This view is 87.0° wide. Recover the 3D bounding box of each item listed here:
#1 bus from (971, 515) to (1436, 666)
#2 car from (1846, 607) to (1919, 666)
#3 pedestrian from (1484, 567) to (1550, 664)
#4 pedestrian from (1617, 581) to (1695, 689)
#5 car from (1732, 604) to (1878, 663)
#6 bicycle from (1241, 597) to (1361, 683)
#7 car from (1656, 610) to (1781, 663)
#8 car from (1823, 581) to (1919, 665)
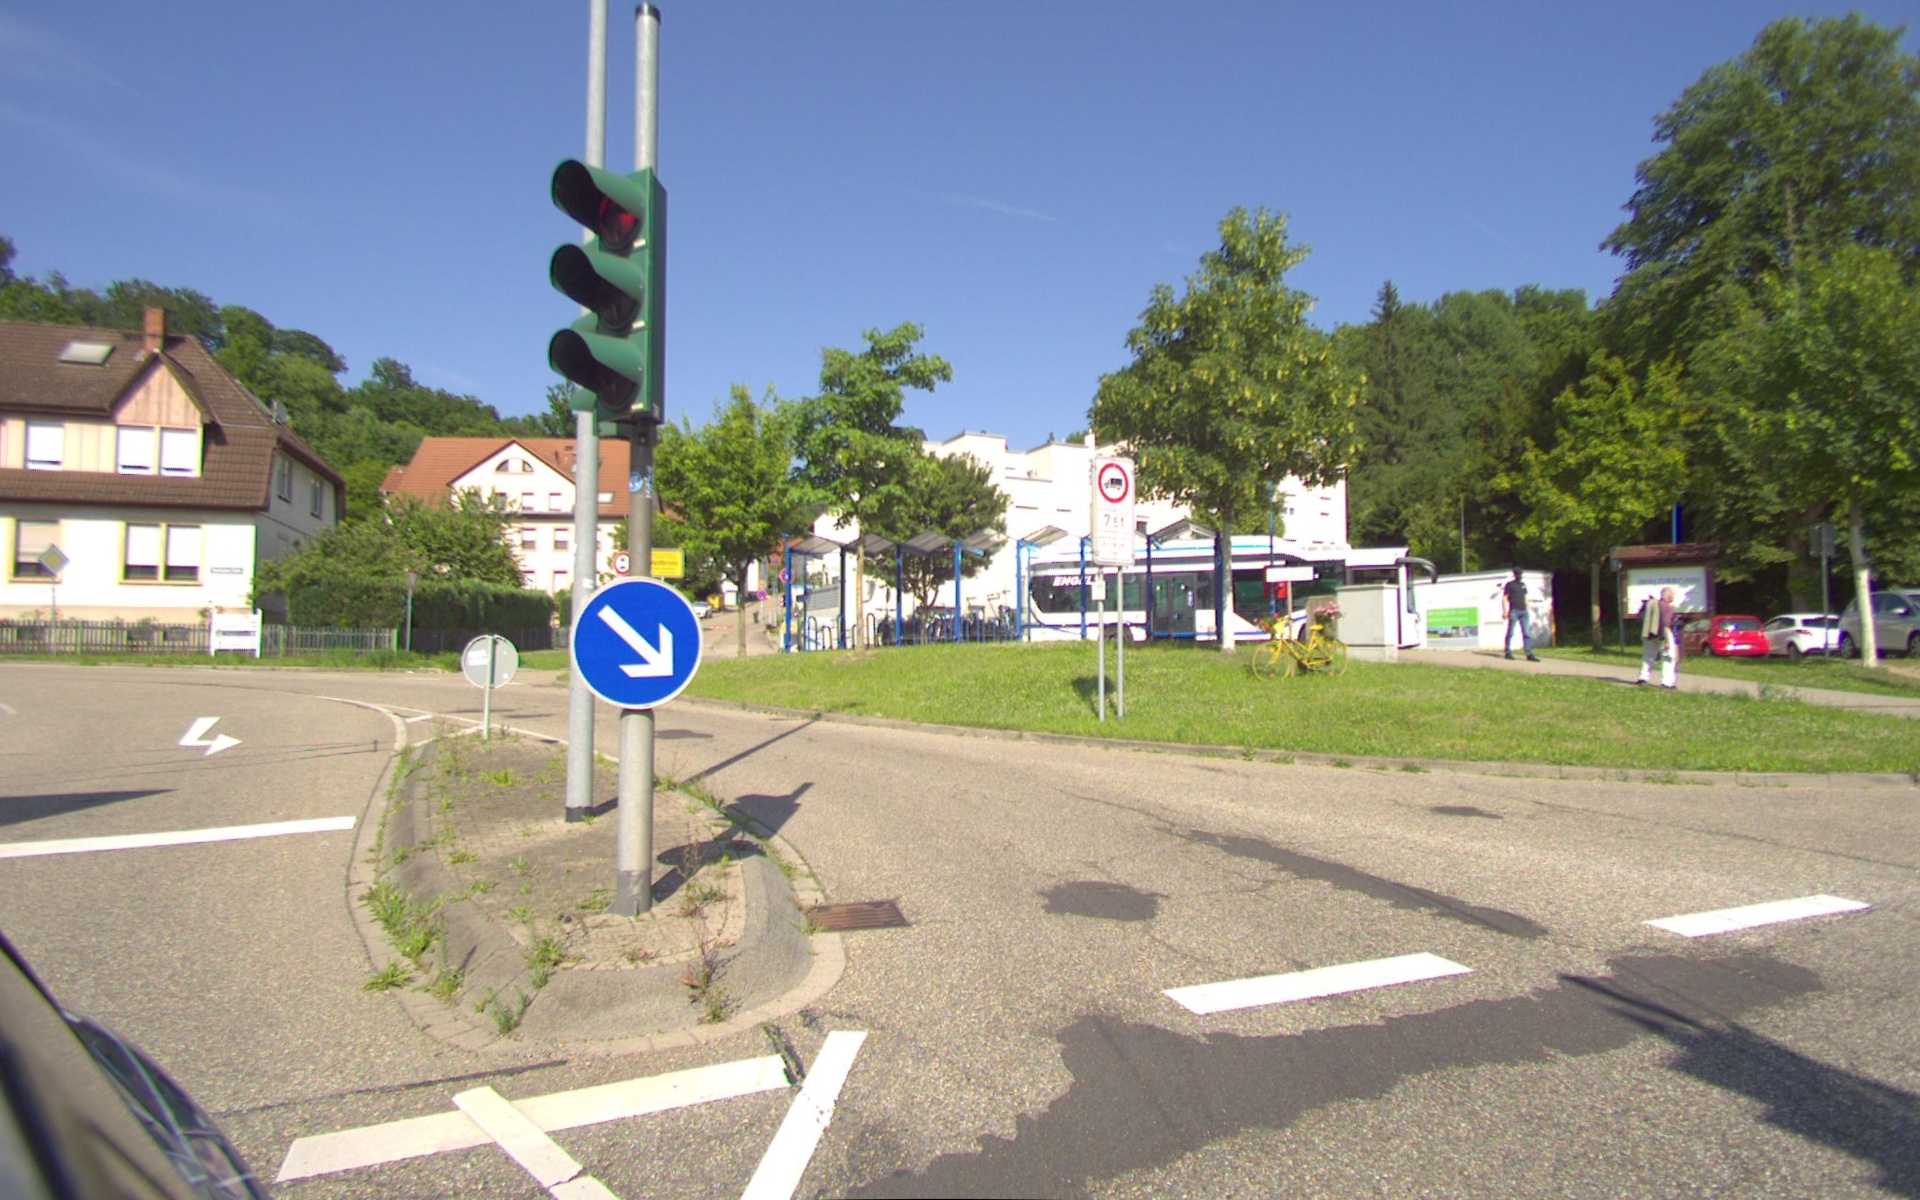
[{"bbox_3d":[6.504,-0.171,28.416,12.126,3.742,2.851,-1,0,20],"label":"bus"},{"bbox_3d":[29.725,1.085,31.325,1.983,1.684,3.978,-1,0,17],"label":"car"},{"bbox_3d":[11.285,0.291,20.526,0.842,1.922,0.743,1,1,-18],"label":"pedestrian"},{"bbox_3d":[11.215,0.552,16.322,0.728,1.690,0.715,-1,0,-17],"label":"pedestrian"},{"bbox_3d":[27.103,1.024,32.646,1.894,1.713,3.985,-1,0,12],"label":"car"},{"bbox_3d":[5.489,0.629,16.320,1.728,1.265,0.622,-2,3,-11],"label":"bicycle"},{"bbox_3d":[24.731,1.148,33.167,1.896,1.571,3.981,-1,0,15],"label":"car"},{"bbox_3d":[20.840,0.464,21.531,2.038,1.709,4.394,0,1,15],"label":"car"}]
